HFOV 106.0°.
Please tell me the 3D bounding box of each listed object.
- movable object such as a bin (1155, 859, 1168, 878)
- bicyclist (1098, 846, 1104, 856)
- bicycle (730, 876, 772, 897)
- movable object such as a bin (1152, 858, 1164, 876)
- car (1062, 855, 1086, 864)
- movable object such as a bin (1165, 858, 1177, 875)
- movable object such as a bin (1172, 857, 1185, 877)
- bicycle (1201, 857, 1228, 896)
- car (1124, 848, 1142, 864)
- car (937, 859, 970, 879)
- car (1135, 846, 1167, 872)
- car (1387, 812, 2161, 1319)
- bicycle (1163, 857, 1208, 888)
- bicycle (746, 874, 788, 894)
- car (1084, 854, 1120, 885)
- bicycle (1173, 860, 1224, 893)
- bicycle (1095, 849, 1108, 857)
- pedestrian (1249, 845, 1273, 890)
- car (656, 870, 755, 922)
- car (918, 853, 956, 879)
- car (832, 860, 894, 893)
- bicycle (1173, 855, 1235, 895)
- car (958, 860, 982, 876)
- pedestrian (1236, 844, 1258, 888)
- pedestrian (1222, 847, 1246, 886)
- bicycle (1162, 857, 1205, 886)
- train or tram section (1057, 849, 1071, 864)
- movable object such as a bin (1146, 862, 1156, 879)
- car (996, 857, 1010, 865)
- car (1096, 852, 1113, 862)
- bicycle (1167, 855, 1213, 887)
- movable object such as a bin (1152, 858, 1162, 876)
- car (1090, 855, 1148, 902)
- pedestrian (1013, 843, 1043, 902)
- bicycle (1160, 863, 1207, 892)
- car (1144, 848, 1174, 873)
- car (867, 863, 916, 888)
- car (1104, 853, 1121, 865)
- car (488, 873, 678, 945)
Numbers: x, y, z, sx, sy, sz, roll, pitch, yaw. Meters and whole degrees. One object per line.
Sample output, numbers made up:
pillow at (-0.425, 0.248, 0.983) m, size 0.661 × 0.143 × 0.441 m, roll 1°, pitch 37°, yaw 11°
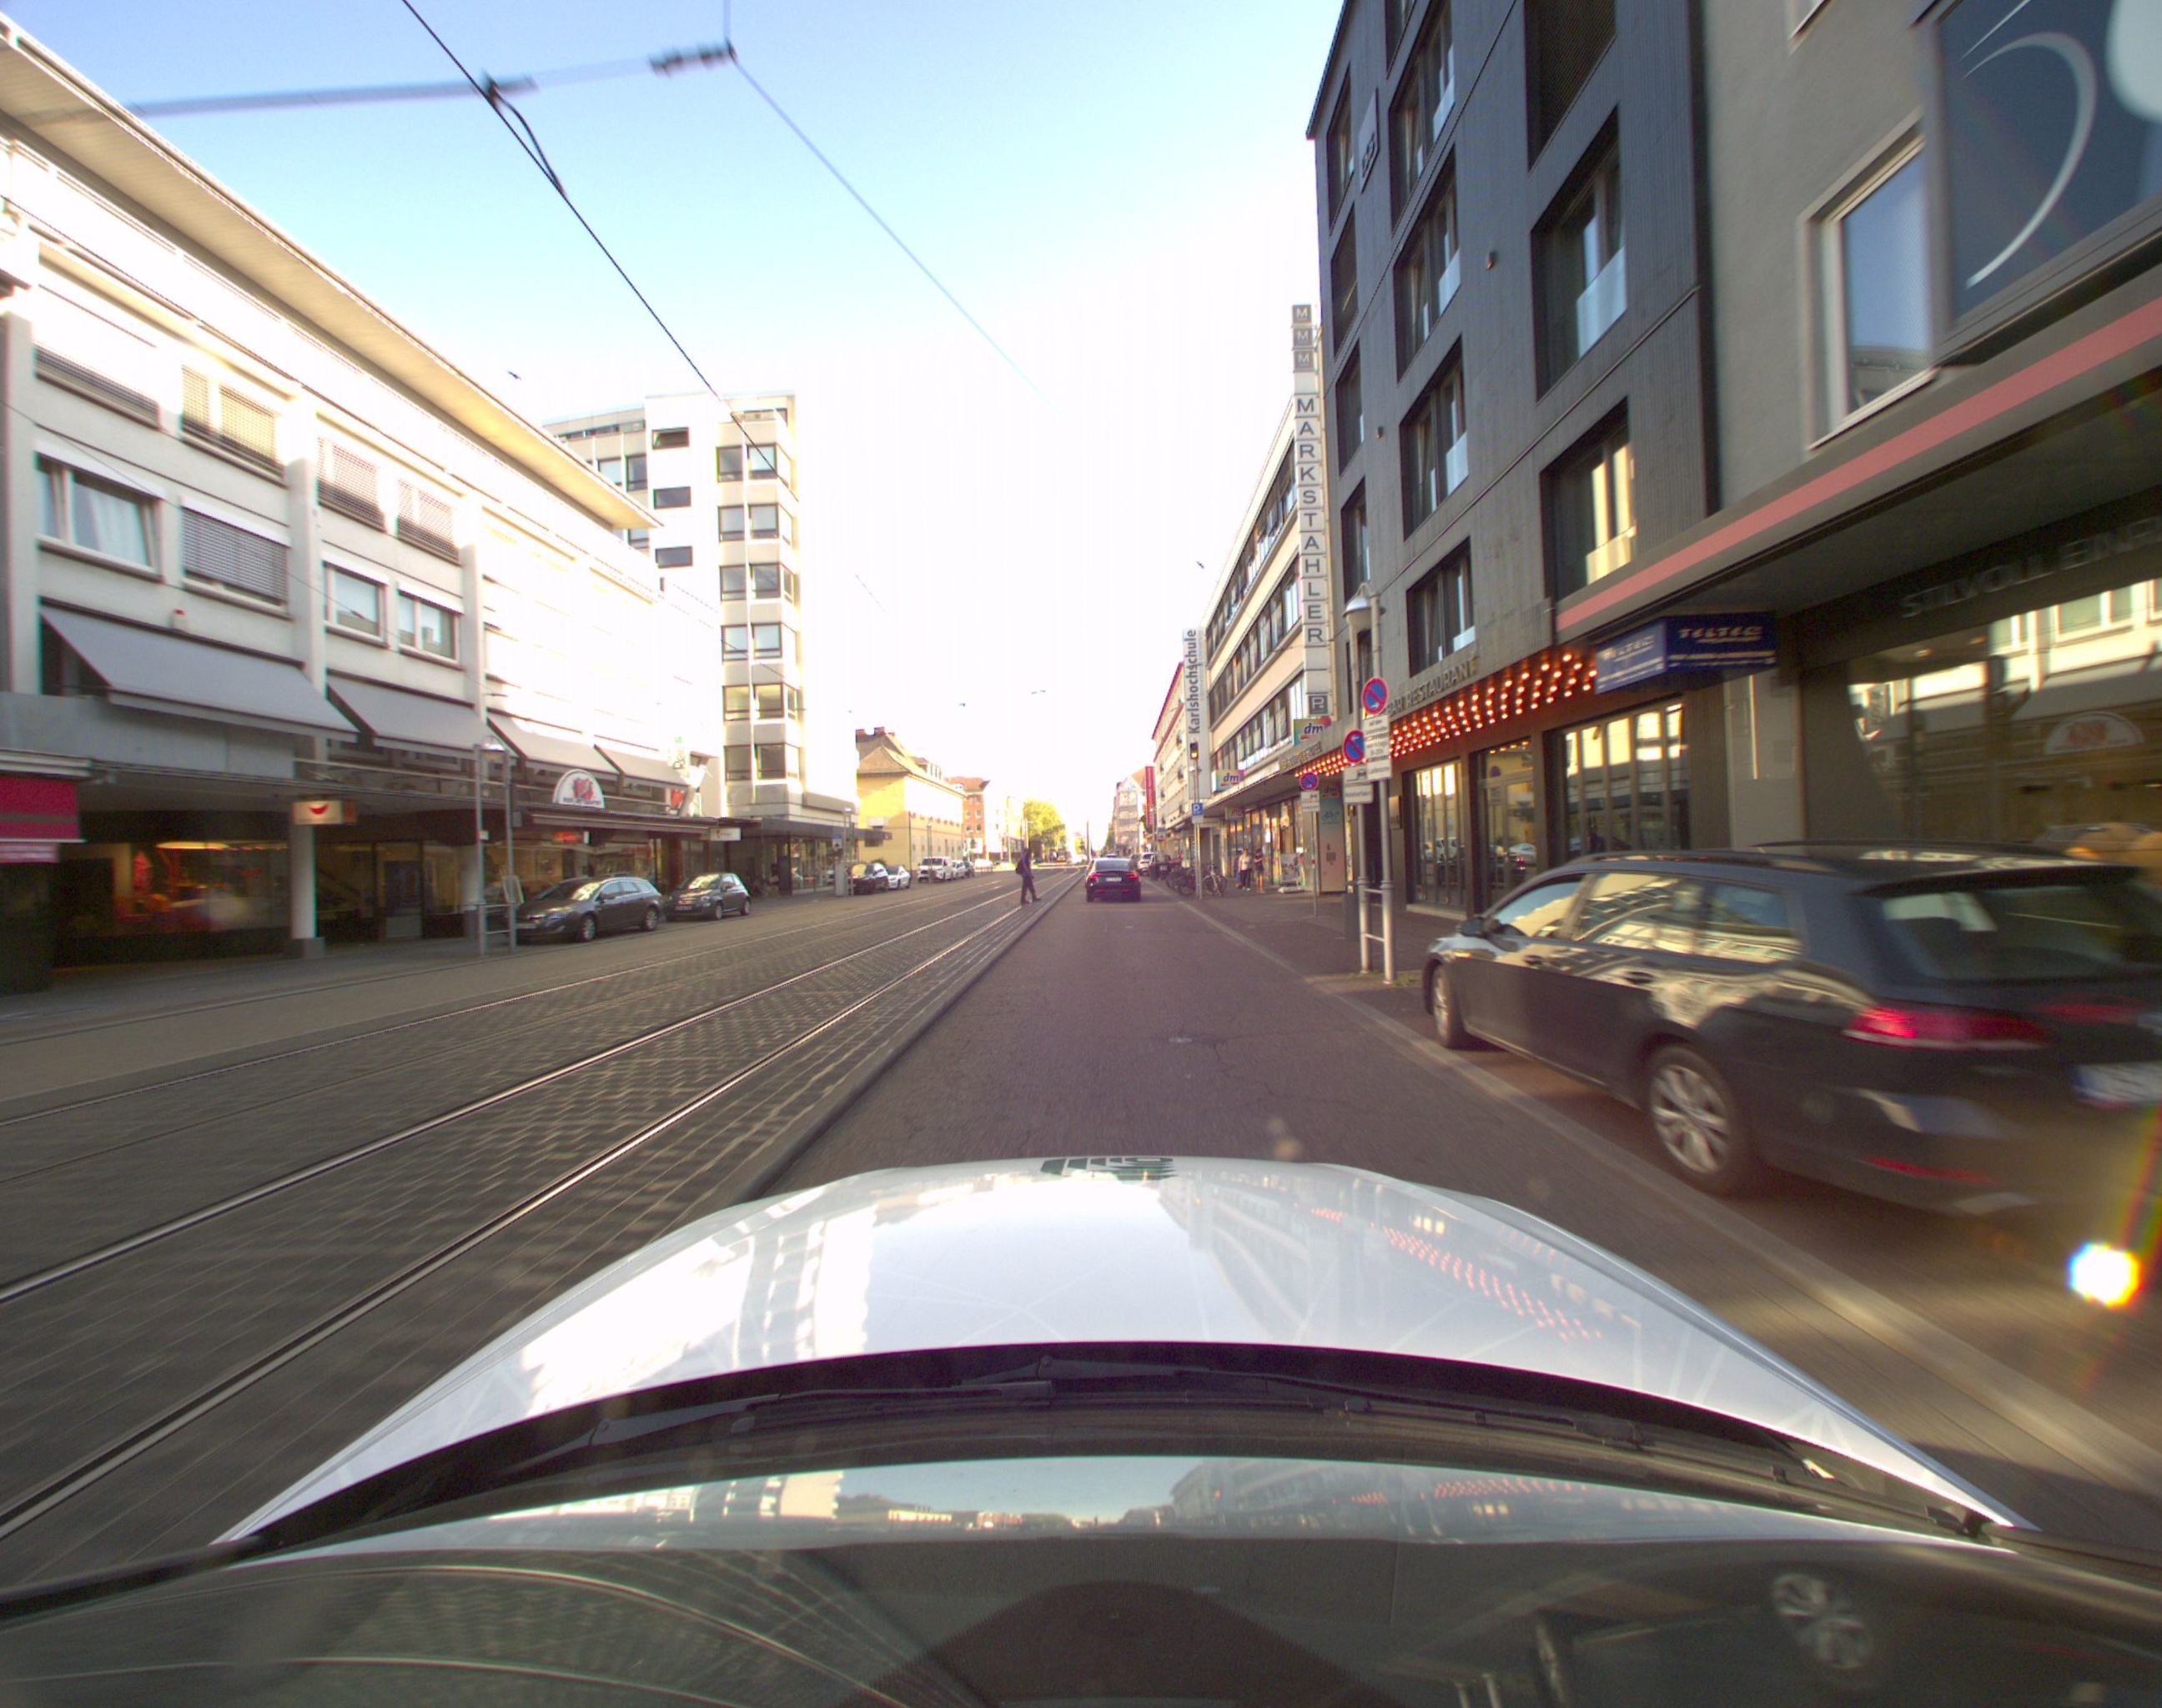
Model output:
movable object such as a bin at (4.719, 0.847, 47.682) m, size 0.687 × 1.089 × 0.686 m, roll -3°, pitch -1°, yaw 5°
bicyclist at (2.847, -0.400, 116.329) m, size 0.835 × 1.500 × 0.559 m, roll 0°, pitch -1°, yaw -6°
bicycle at (-16.466, 1.619, 40.649) m, size 1.928 × 0.999 × 0.381 m, roll 0°, pitch -1°, yaw 2°
movable object such as a bin at (4.576, 0.791, 48.465) m, size 0.683 × 1.014 × 0.509 m, roll -3°, pitch 0°, yaw 4°
car at (-1.365, 1.036, 157.953) m, size 4.002 × 1.678 × 1.986 m, roll -3°, pitch 0°, yaw -21°
movable object such as a bin at (5.336, 0.739, 48.365) m, size 0.655 × 1.014 × 0.637 m, roll -3°, pitch 0°, yaw 4°
movable object such as a bin at (5.705, 0.759, 47.646) m, size 0.687 × 1.089 × 0.666 m, roll -3°, pitch -1°, yaw 5°
bicycle at (4.588, 0.770, 28.043) m, size 0.579 × 1.257 × 1.601 m, roll -4°, pitch 0°, yaw 0°
car at (5.606, 0.215, 87.515) m, size 1.738 × 1.632 × 3.651 m, roll -3°, pitch 0°, yaw 2°
car at (-10.838, 1.248, 69.701) m, size 1.799 × 1.685 × 4.653 m, roll 0°, pitch 0°, yaw 4°
car at (5.094, 0.362, 59.741) m, size 1.843 × 1.724 × 5.194 m, roll -4°, pitch 0°, yaw 1°
car at (3.455, 0.644, 4.724) m, size 1.715 × 1.484 × 4.417 m, roll -4°, pitch 0°, yaw 1°
bicycle at (4.434, 0.779, 34.508) m, size 1.781 × 1.217 × 0.669 m, roll -3°, pitch 0°, yaw 0°
bicycle at (-15.848, 1.531, 41.109) m, size 1.928 × 0.999 × 0.424 m, roll 0°, pitch -1°, yaw 2°
car at (1.082, 0.726, 40.602) m, size 1.647 × 1.418 × 4.003 m, roll -1°, pitch 1°, yaw 2°
bicycle at (4.338, 0.818, 30.127) m, size 1.770 × 1.130 × 0.478 m, roll -3°, pitch 0°, yaw -4°
bicycle at (2.944, -0.134, 116.332) m, size 1.726 × 1.088 × 0.677 m, roll 0°, pitch 0°, yaw -6°
pedestrian at (6.198, 0.473, 28.050) m, size 0.581 × 1.493 × 0.524 m, roll -4°, pitch -1°, yaw -7°
car at (-12.144, 1.302, 26.571) m, size 1.596 × 1.523 × 3.588 m, roll 0°, pitch 0°, yaw -1°
car at (-11.157, 0.895, 63.353) m, size 1.986 × 1.975 × 5.097 m, roll 0°, pitch 0°, yaw 1°
car at (-11.739, 1.176, 44.171) m, size 1.971 × 1.678 × 4.657 m, roll 0°, pitch 0°, yaw 2°
bicycle at (4.432, 0.748, 29.333) m, size 2.035 × 1.274 × 0.523 m, roll -5°, pitch 0°, yaw -9°
car at (-10.210, 1.282, 75.044) m, size 1.608 × 1.400 × 3.721 m, roll 0°, pitch 0°, yaw 1°
pedestrian at (6.157, 0.443, 30.189) m, size 0.579 × 1.585 × 0.598 m, roll -4°, pitch 0°, yaw 0°
pedestrian at (5.964, 0.495, 31.721) m, size 0.585 × 1.486 × 0.591 m, roll -4°, pitch -1°, yaw -30°
bicycle at (4.475, 0.759, 35.676) m, size 1.781 × 1.159 × 0.669 m, roll -3°, pitch 0°, yaw 0°
train or tram section at (-4.220, 0.590, 207.780) m, size 2.664 × 3.715 × 14.200 m, roll 0°, pitch 0°, yaw 2°
movable object such as a bin at (4.119, 0.949, 47.880) m, size 0.485 × 0.958 × 0.458 m, roll -3°, pitch -1°, yaw 5°
car at (-13.776, 1.271, 143.613) m, size 1.895 × 1.464 × 4.003 m, roll 0°, pitch 0°, yaw 3°
car at (3.601, 0.531, 126.757) m, size 1.825 × 1.519 × 4.202 m, roll 0°, pitch 0°, yaw -11°
bicycle at (4.511, 0.709, 33.809) m, size 1.781 × 1.217 × 0.587 m, roll -3°, pitch 0°, yaw 0°
movable object such as a bin at (4.588, 0.775, 49.221) m, size 0.520 × 1.014 × 0.672 m, roll -3°, pitch 0°, yaw 4°
car at (1.242, 0.803, 28.194) m, size 1.842 × 1.484 × 3.787 m, roll -1°, pitch 0°, yaw 1°
pedestrian at (-1.723, 0.582, 26.363) m, size 0.801 × 1.837 × 0.746 m, roll -4°, pitch 0°, yaw 0°
bicycle at (4.056, 0.926, 32.398) m, size 1.767 × 1.032 × 0.597 m, roll -3°, pitch 0°, yaw 0°
car at (5.215, 0.440, 54.639) m, size 1.608 × 1.528 × 4.071 m, roll -3°, pitch 0°, yaw 1°
car at (-11.584, 1.265, 50.044) m, size 1.882 × 1.421 × 4.656 m, roll 0°, pitch 0°, yaw 0°
car at (3.847, 0.611, 99.791) m, size 1.778 × 1.519 × 4.215 m, roll 0°, pitch 0°, yaw -1°
car at (-12.484, 1.306, 20.873) m, size 1.730 × 1.523 × 4.854 m, roll 0°, pitch 0°, yaw 2°
